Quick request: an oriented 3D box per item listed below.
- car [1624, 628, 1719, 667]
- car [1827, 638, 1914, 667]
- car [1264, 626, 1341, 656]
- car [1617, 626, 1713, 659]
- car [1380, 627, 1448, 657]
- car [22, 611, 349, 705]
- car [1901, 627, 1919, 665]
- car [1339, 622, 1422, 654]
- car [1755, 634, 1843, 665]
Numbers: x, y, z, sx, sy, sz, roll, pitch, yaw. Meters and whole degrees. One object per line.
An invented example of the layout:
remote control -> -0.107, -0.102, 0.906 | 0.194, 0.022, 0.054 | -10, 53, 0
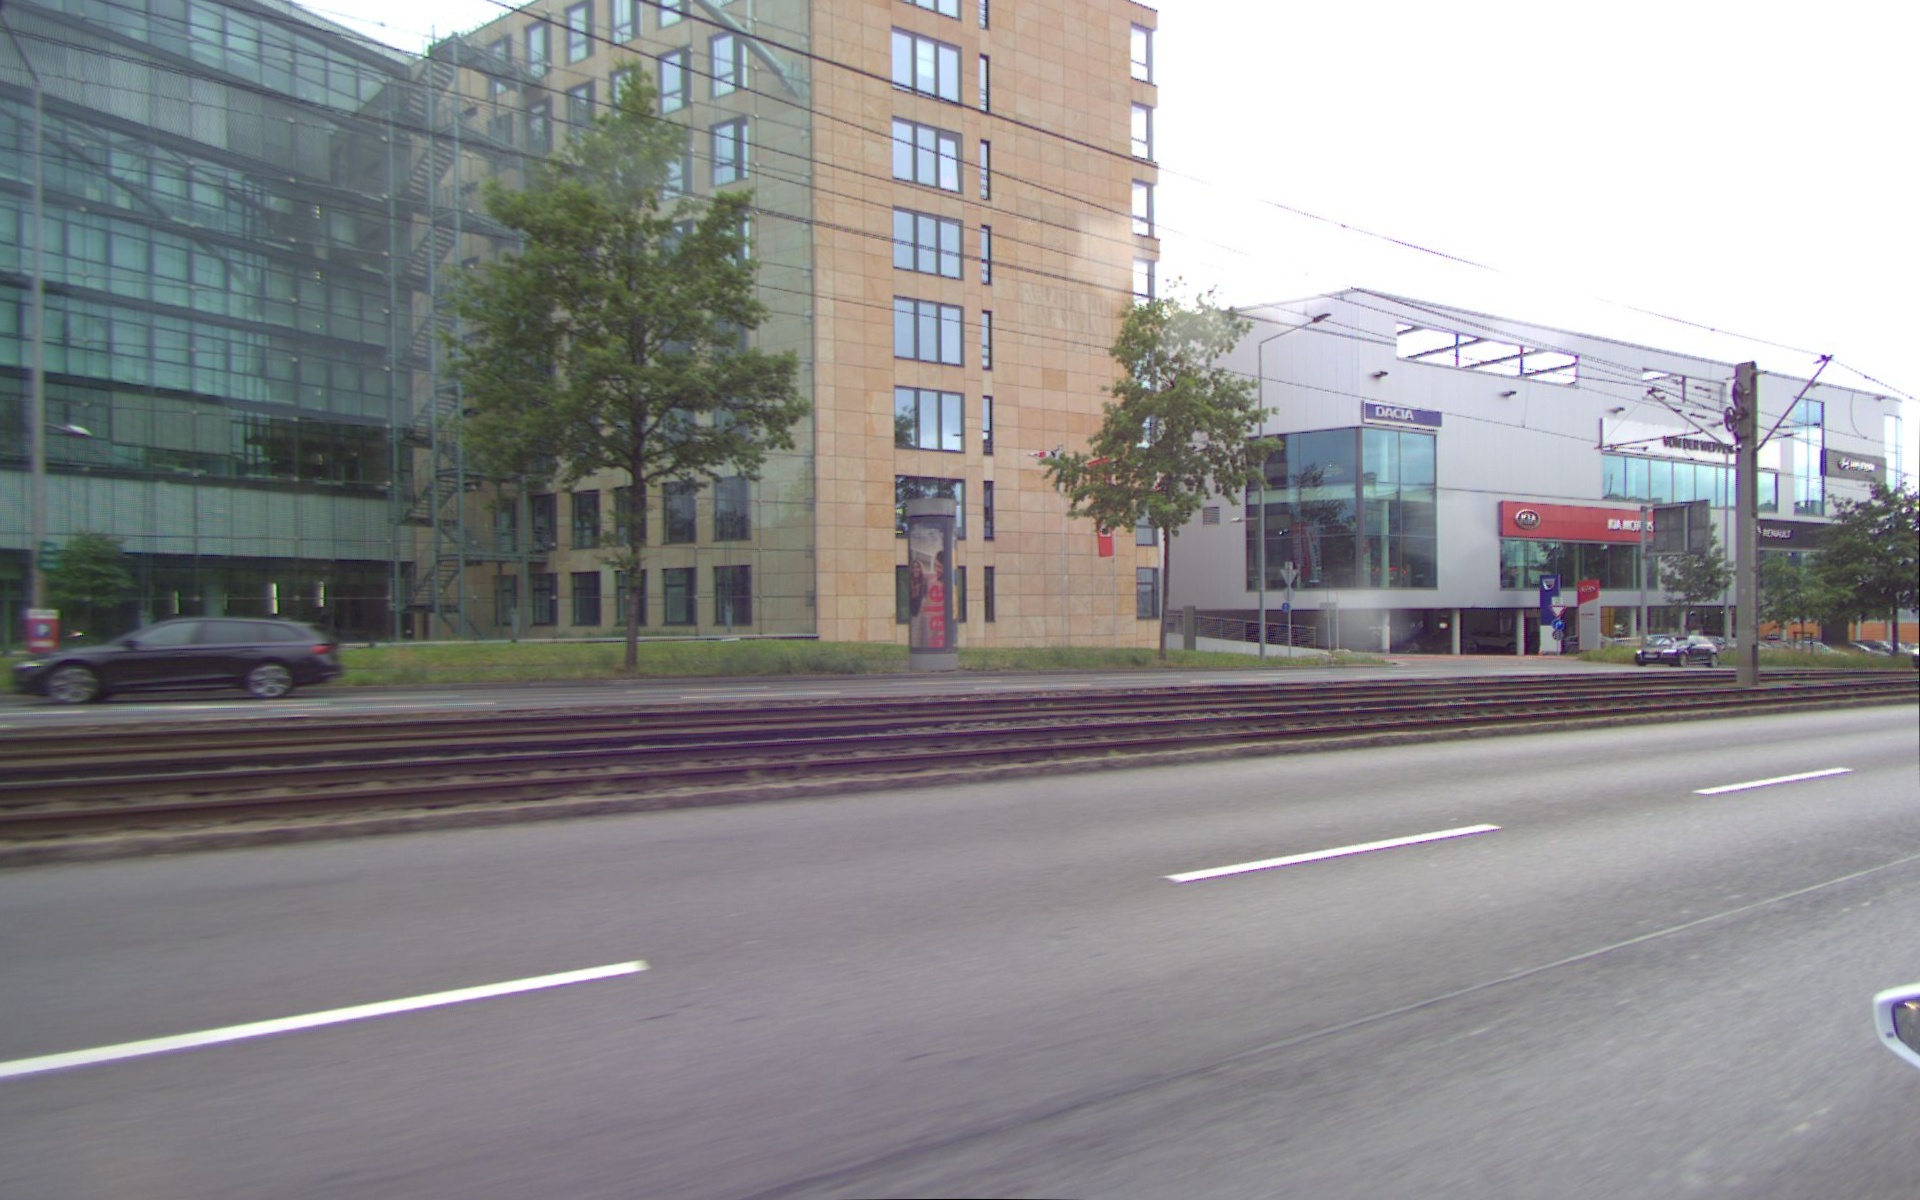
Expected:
car -> 30.941, 2.080, 43.658 | 4.186, 1.481, 1.661 | 3, 0, -28
car -> 69.467, 3.972, 76.697 | 1.998, 2.002, 4.577 | 3, -2, -31
car -> 22.132, 2.656, 64.832 | 4.885, 1.816, 1.983 | 2, 0, -32
car -> 43.785, 2.601, 62.439 | 4.574, 1.851, 2.008 | 1, -2, 45
car -> 32.232, 2.995, 71.295 | 4.886, 1.936, 1.983 | 2, 0, -32
car -> -13.523, 1.012, 17.945 | 4.378, 1.505, 1.833 | 1, -4, -30
car -> 43.182, 2.102, 43.728 | 4.329, 1.637, 1.799 | 3, 0, -26
car -> 25.228, 2.269, 60.277 | 4.882, 1.748, 1.984 | 2, 0, -30
car -> 59.968, 3.550, 71.835 | 2.004, 2.002, 4.564 | 3, -2, -39
